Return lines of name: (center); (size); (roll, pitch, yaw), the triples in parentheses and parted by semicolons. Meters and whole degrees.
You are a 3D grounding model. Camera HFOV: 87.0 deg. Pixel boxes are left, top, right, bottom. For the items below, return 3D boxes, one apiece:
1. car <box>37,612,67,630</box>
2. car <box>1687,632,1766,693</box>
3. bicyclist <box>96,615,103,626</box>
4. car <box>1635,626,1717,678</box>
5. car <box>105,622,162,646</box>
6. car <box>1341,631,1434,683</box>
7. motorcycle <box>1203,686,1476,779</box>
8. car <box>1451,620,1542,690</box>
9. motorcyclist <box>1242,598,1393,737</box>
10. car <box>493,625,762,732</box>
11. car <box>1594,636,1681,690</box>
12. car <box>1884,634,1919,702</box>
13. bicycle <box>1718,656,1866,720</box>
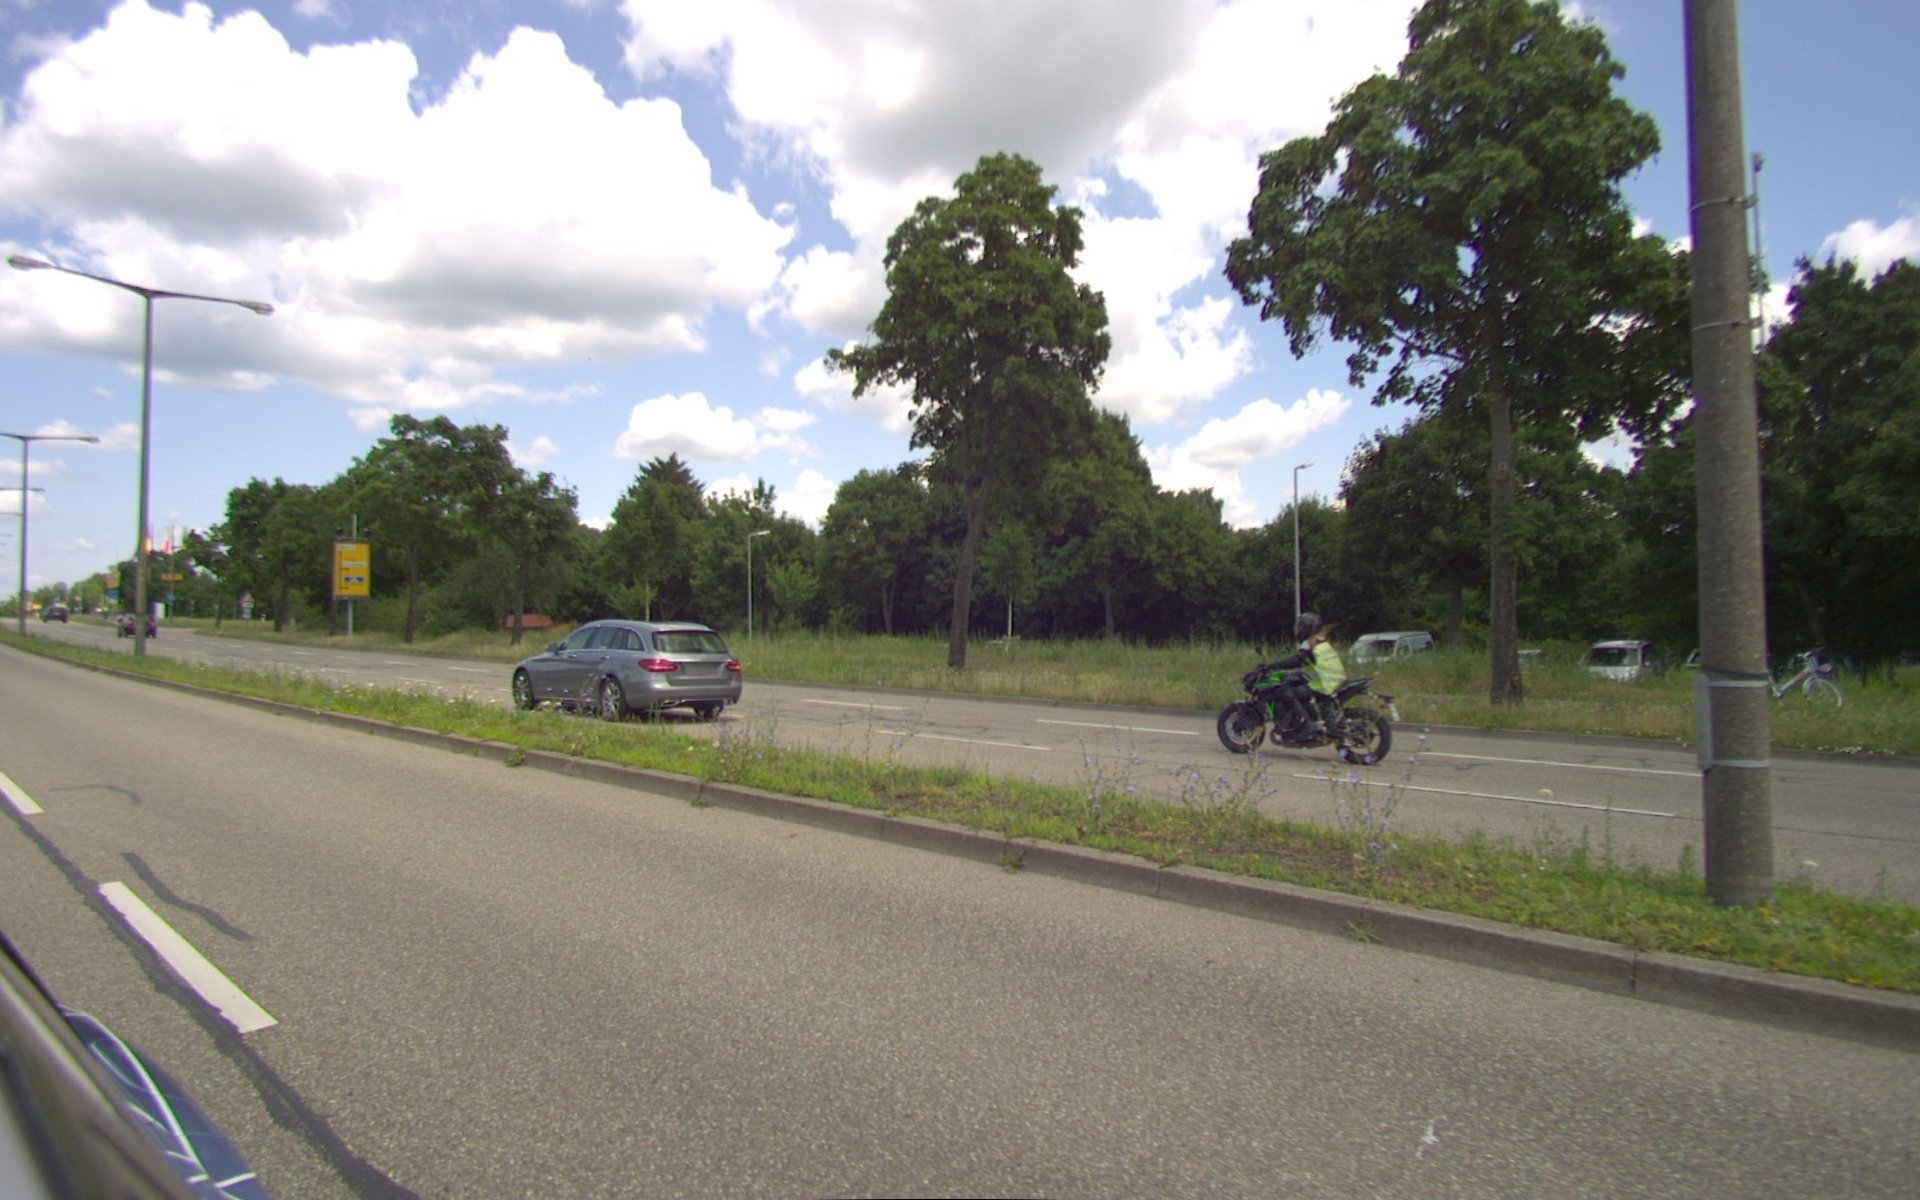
car: (-98.632, 2.250, 109.952); (4.728, 1.804, 1.856); (0, -3, 42)
car: (22.353, 1.775, 29.503); (1.693, 1.550, 3.546); (-2, -1, 38)
bicyclist: (-101.651, 2.376, 119.575); (1.106, 1.282, 0.515); (-2, -2, 42)
car: (24.205, 1.711, 34.164); (1.998, 1.530, 3.948); (-2, -1, 39)
car: (-51.375, 2.086, 62.900); (3.664, 1.438, 1.688); (0, -1, 33)
car: (15.145, 1.970, 35.745); (1.998, 1.638, 3.948); (-2, -1, 39)
motorcycle: (4.029, 1.380, 10.976); (2.670, 0.778, 0.744); (-2, -1, 42)
car: (17.317, 1.718, 32.579); (1.996, 2.029, 3.951); (-2, -1, 36)
motorcyclist: (3.926, 0.708, 11.137); (1.328, 1.425, 0.818); (-2, -2, 41)
car: (-5.222, 1.127, 15.564); (4.731, 1.409, 1.791); (-2, -3, 41)
car: (20.746, 1.872, 30.934); (1.996, 1.423, 3.951); (-2, -1, 36)
car: (25.270, 1.709, 26.148); (1.693, 1.570, 3.949); (-2, -1, 38)
bicycle: (14.256, 1.486, 17.393); (1.917, 0.985, 0.561); (-1, -2, 41)
